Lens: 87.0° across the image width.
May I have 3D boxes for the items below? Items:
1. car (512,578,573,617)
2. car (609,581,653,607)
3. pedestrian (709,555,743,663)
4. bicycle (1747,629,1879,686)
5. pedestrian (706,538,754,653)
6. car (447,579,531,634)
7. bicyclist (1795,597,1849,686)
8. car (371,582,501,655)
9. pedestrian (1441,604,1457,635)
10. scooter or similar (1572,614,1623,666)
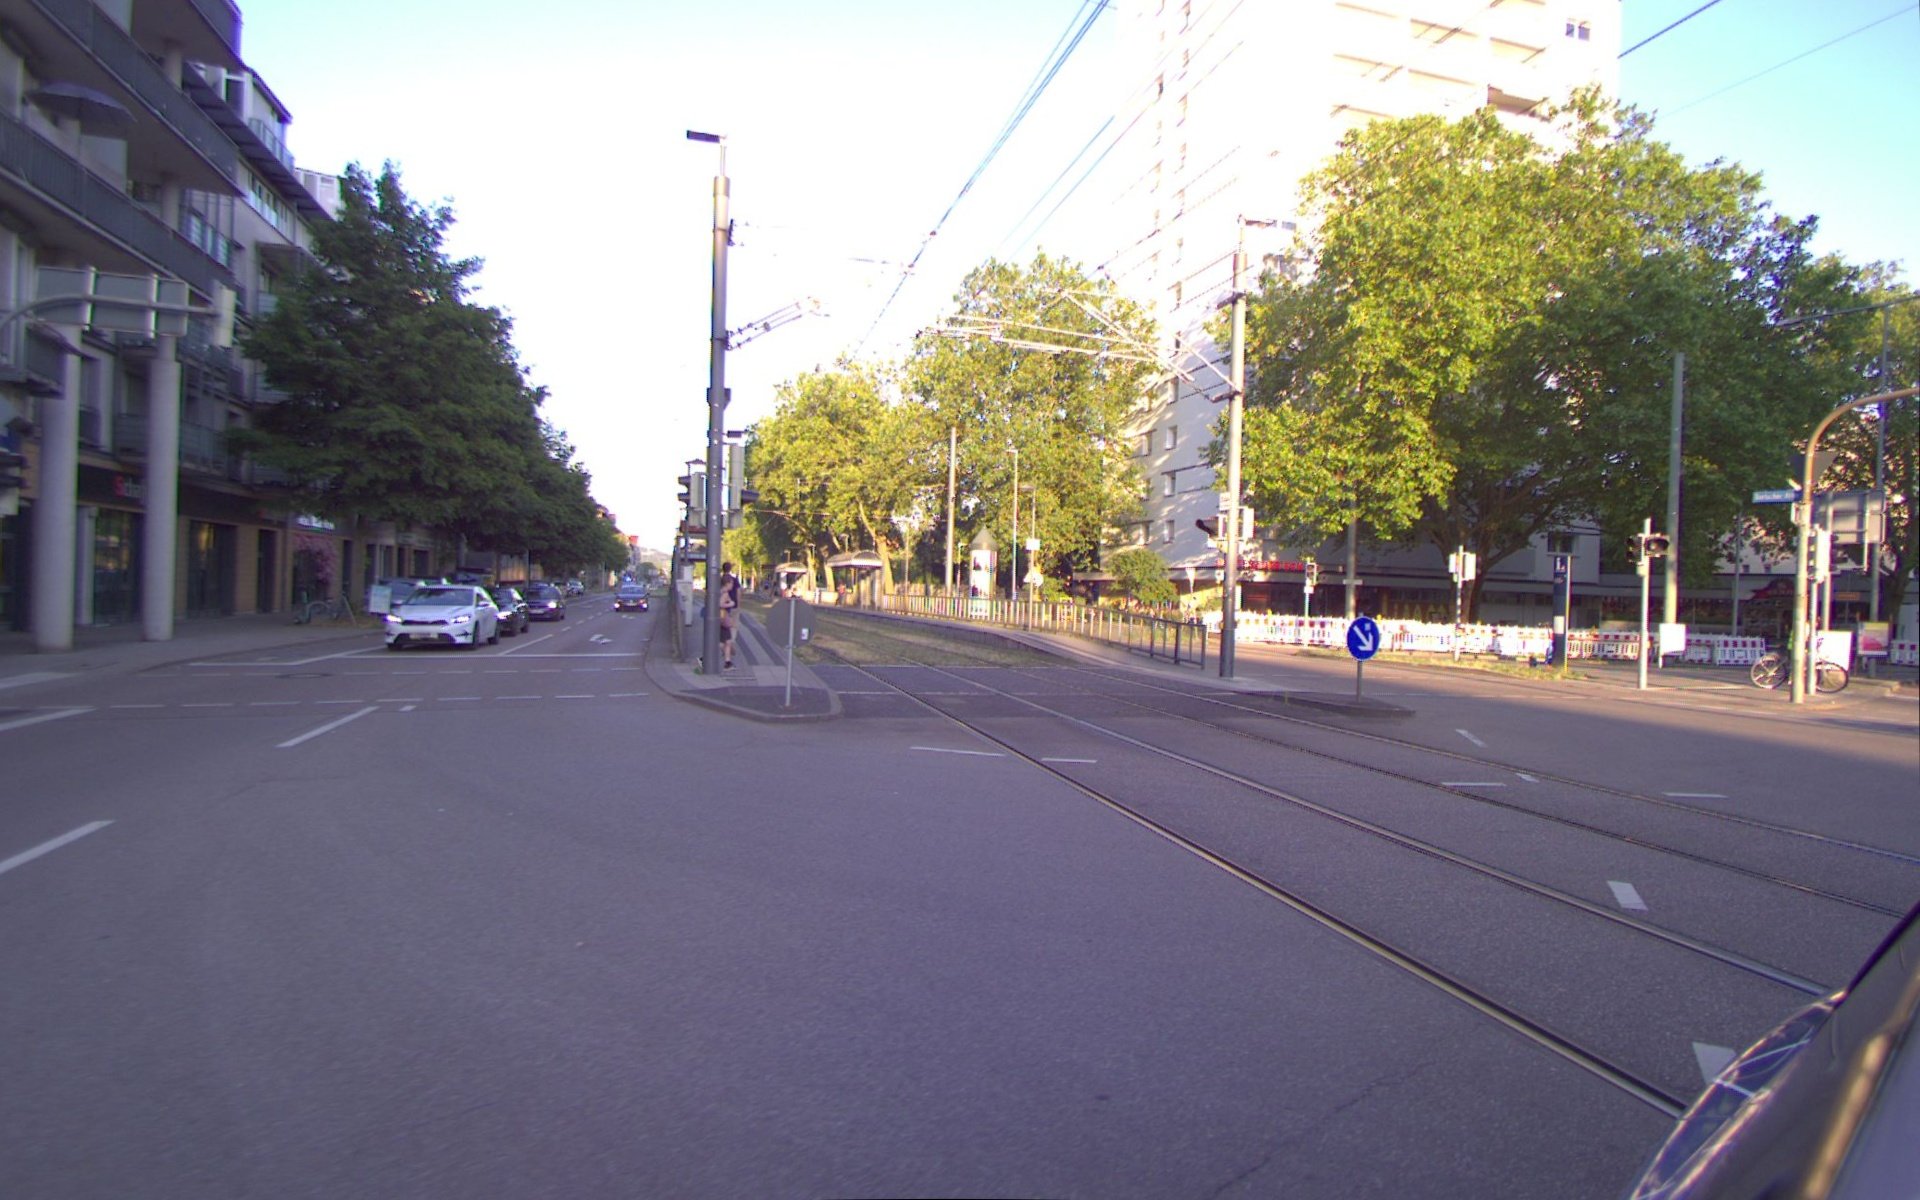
[{"bbox_3d":[-17.041,-0.109,41.479,1.811,1.505,4.008,1,0,-15],"label":"car"},{"bbox_3d":[-18.316,-0.309,56.551,1.758,1.371,4.006,1,0,-10],"label":"car"},{"bbox_3d":[-4.015,0.155,17.331,0.532,1.801,0.791,1,0,-14],"label":"pedestrian"},{"bbox_3d":[18.233,1.223,21.680,2.045,1.123,0.624,1,0,19],"label":"bicycle"},{"bbox_3d":[-4.601,-0.083,20.201,0.803,2.237,0.872,1,0,-19],"label":"pedestrian"},{"bbox_3d":[-13.819,0.185,29.887,1.810,1.505,4.008,1,0,-19],"label":"car"},{"bbox_3d":[18.403,0.868,21.621,0.690,1.847,0.624,1,0,19],"label":"bicyclist"},{"bbox_3d":[-11.887,0.384,23.215,1.811,1.505,4.008,1,0,-15],"label":"car"},{"bbox_3d":[25.154,0.992,52.070,0.633,1.608,0.742,1,0,18],"label":"pedestrian"},{"bbox_3d":[16.257,1.012,25.832,0.506,1.265,1.234,1,0,0],"label":"scooter or similar"}]
